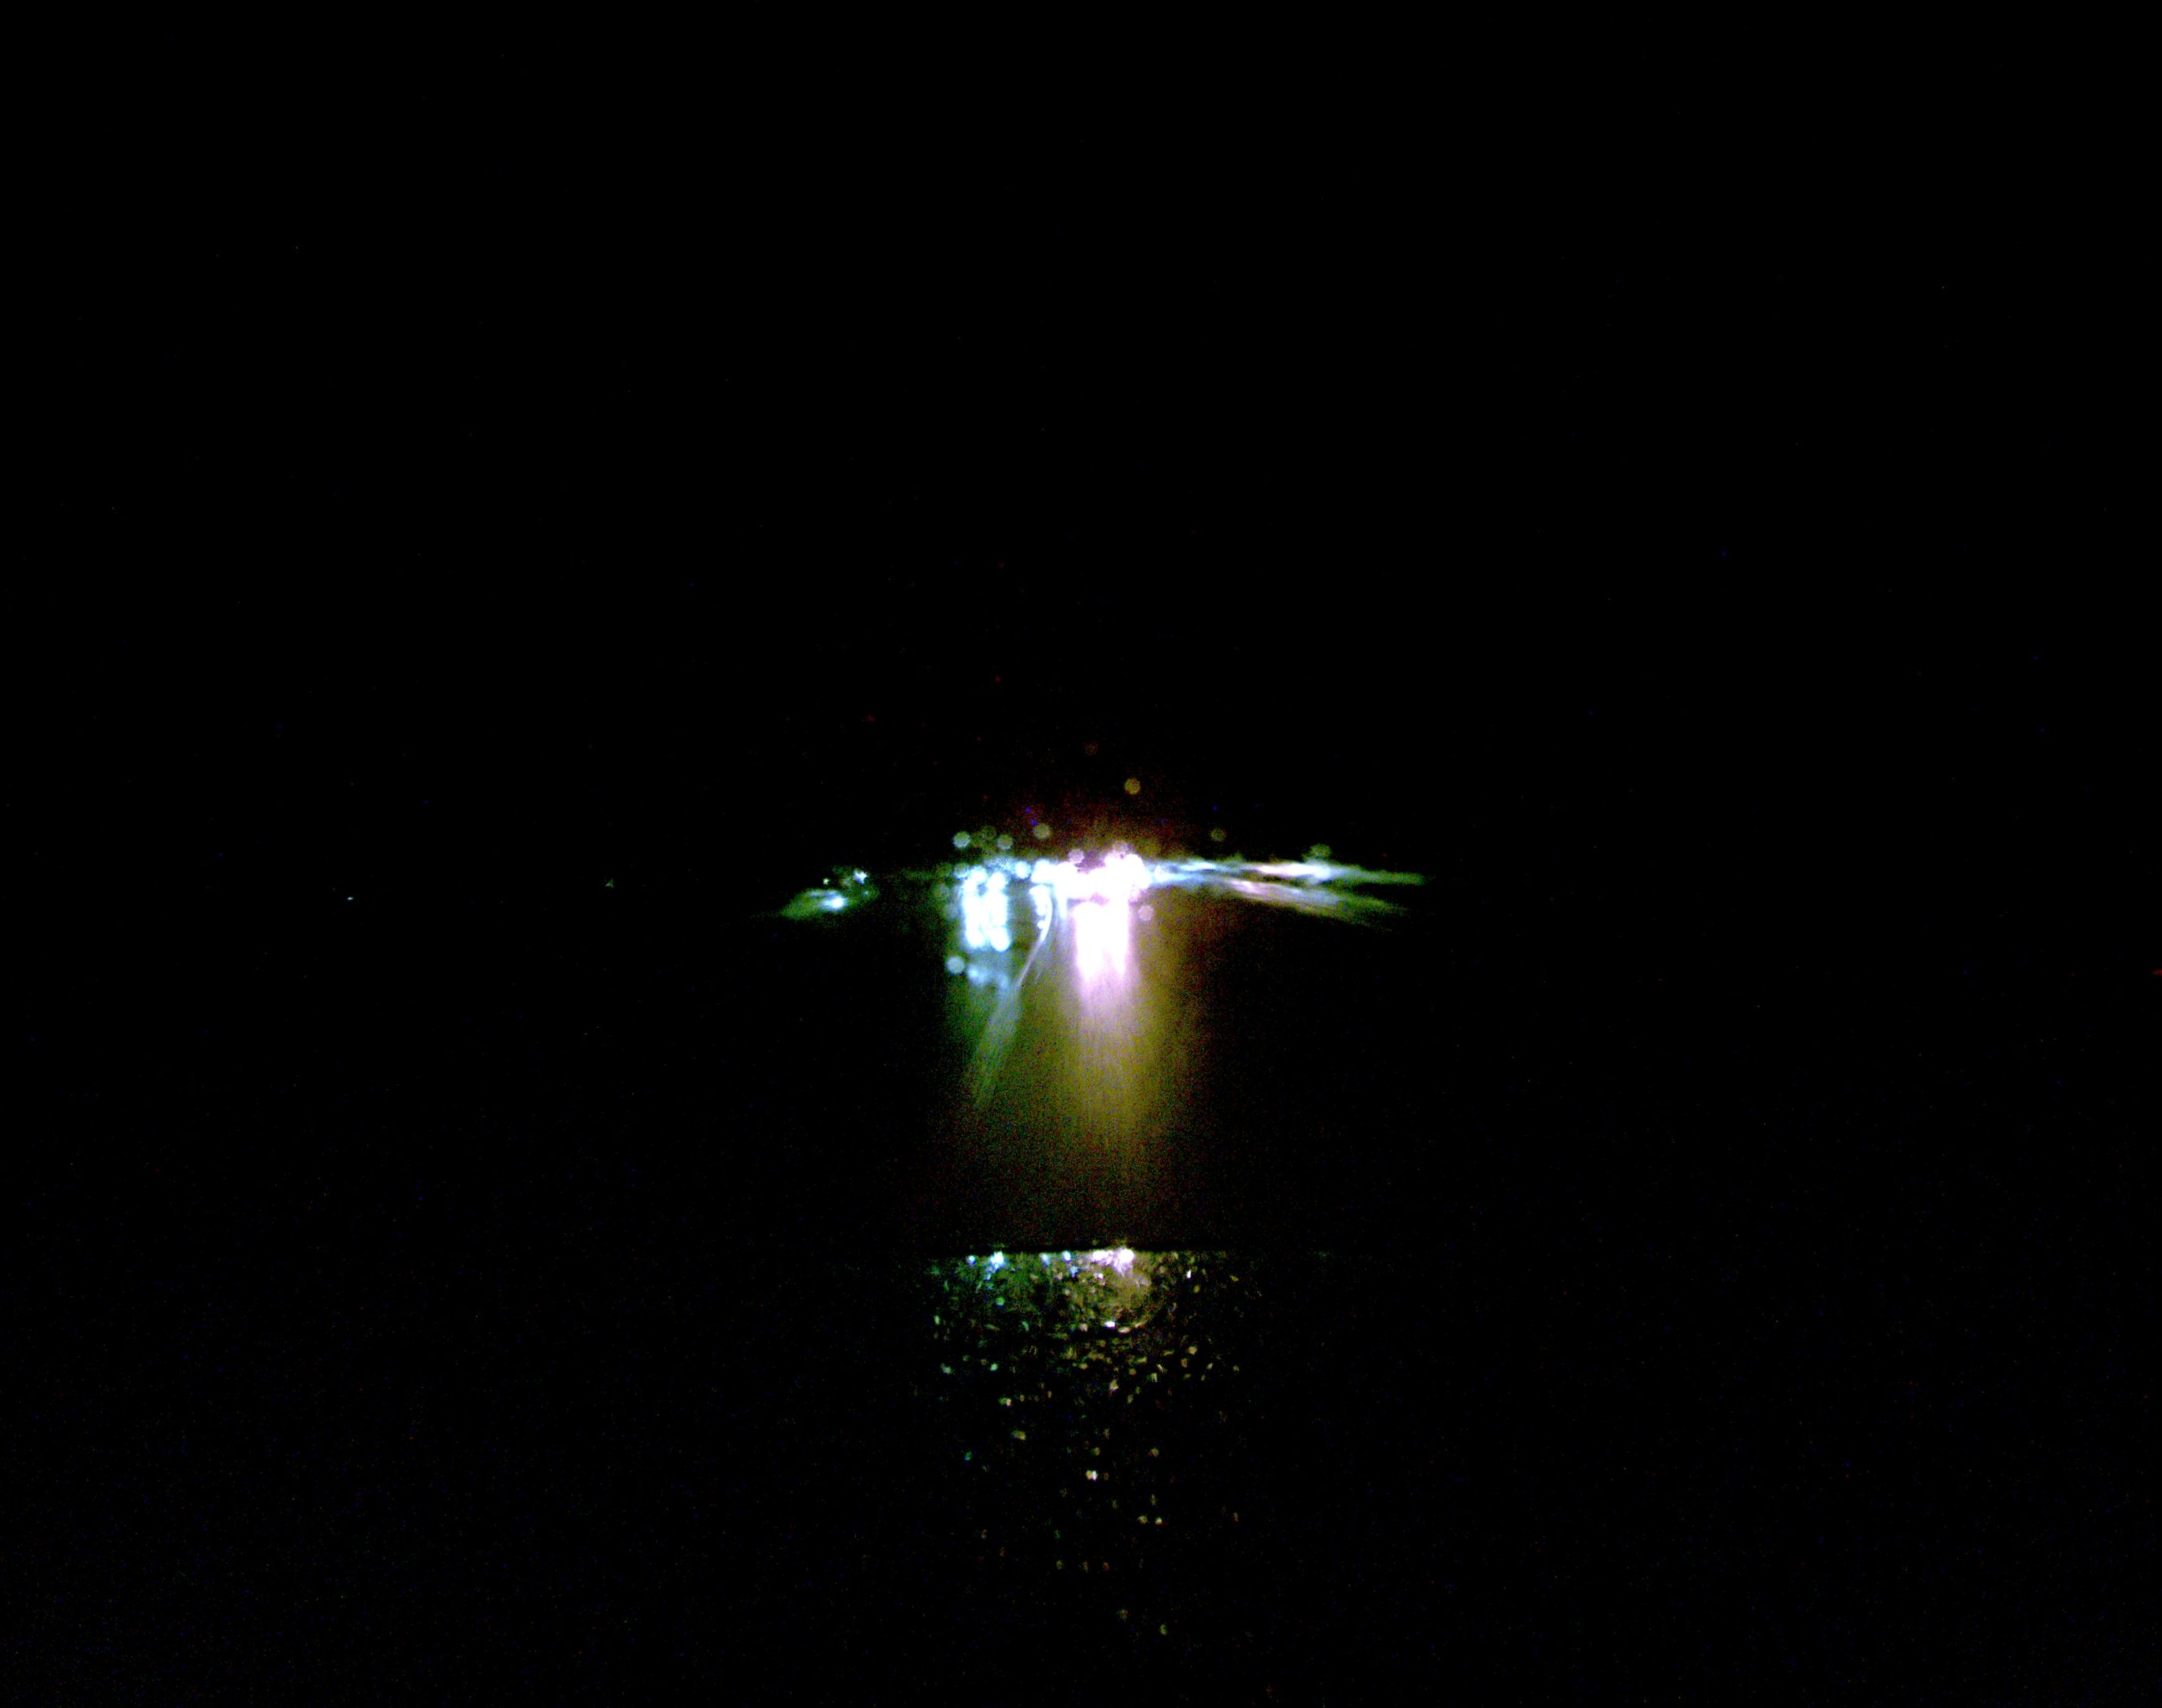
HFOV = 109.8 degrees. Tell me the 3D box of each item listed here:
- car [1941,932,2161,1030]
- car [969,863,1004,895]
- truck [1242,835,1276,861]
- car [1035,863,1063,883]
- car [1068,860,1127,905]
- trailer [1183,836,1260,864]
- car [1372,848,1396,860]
[{"bbox_3d":[22.375,2.744,16.833,1.764,1.482,4.040,-1,2,-10],"label":"car"},{"bbox_3d":[-5.619,1.443,45.449,1.741,1.674,4.119,-6,0,-5],"label":"car"},{"bbox_3d":[32.678,-1.061,139.371,5.551,4.312,2.543,-4,1,24],"label":"truck"},{"bbox_3d":[-2.397,1.392,55.728,1.761,1.304,4.084,-3,-1,-6],"label":"car"},{"bbox_3d":[0.687,1.030,28.497,1.686,1.442,3.644,-4,-1,8],"label":"car"},{"bbox_3d":[26.253,-0.657,142.164,13.679,4.312,2.543,-4,1,23],"label":"trailer"},{"bbox_3d":[38.391,0.015,96.164,1.727,1.390,3.936,0,2,40],"label":"car"}]
